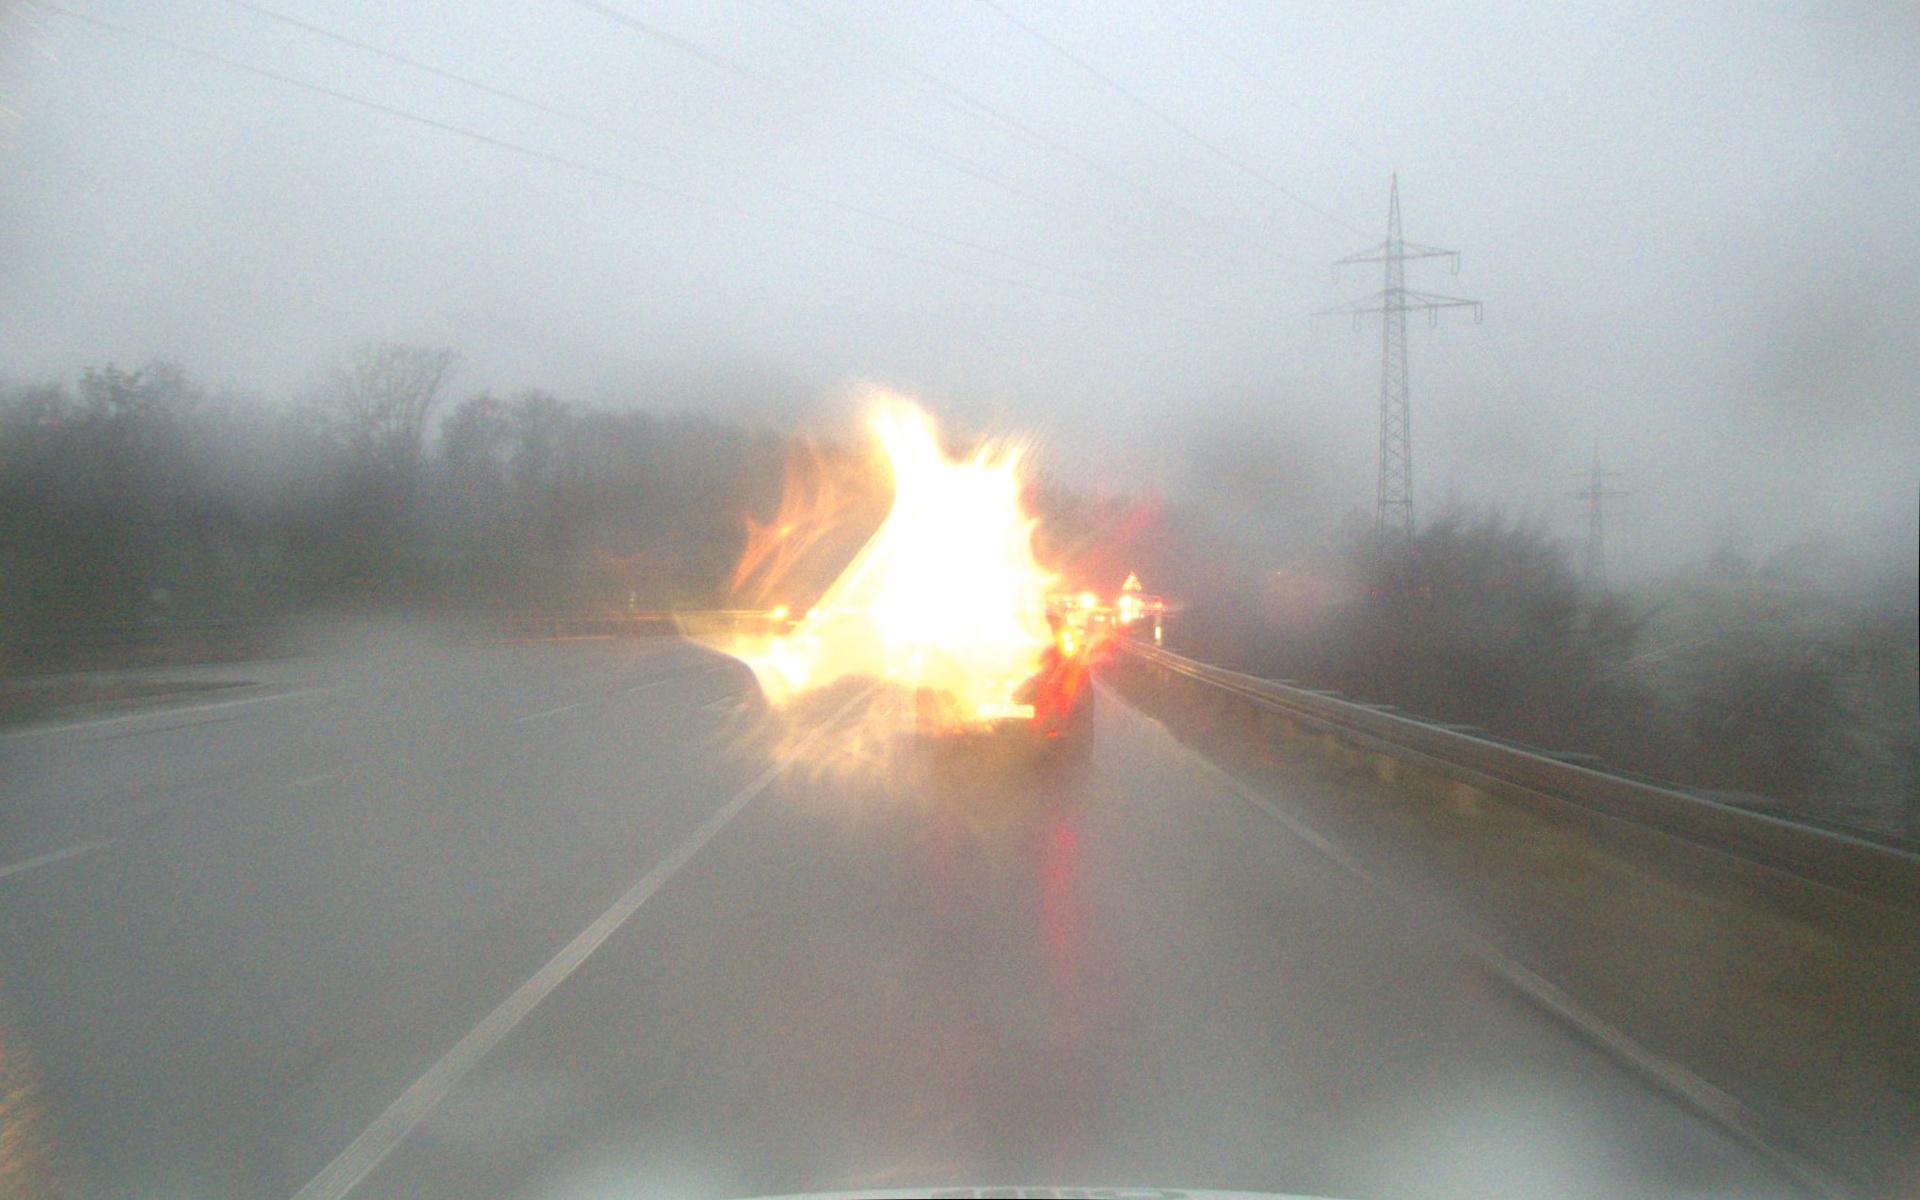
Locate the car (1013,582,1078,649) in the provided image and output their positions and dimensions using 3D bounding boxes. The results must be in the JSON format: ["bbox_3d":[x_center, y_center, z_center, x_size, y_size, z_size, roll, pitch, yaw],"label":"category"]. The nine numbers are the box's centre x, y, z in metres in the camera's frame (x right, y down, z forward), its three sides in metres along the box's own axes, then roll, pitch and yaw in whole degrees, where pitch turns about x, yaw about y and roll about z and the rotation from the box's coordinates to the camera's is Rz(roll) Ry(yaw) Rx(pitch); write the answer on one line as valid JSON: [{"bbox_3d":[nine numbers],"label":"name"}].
[{"bbox_3d":[2.744,0.476,53.881,1.906,2.049,4.000,1,0,1],"label":"car"}]

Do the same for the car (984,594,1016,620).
[{"bbox_3d":[2.544,0.429,104.639,1.601,1.497,4.452,3,1,6],"label":"car"}]

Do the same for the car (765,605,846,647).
[{"bbox_3d":[-5.241,0.858,56.512,1.561,1.265,4.004,4,1,12],"label":"car"}]

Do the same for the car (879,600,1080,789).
[{"bbox_3d":[0.124,0.823,16.482,1.695,1.559,4.041,-2,0,-1],"label":"car"}]

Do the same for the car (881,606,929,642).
[{"bbox_3d":[-2.363,1.013,71.632,1.659,1.442,4.002,2,0,3],"label":"car"}]

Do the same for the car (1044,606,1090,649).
[{"bbox_3d":[4.799,1.204,73.862,1.905,1.775,4.002,1,0,5],"label":"car"}]

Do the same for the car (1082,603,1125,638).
[{"bbox_3d":[7.965,1.110,91.671,1.904,1.775,4.004,1,1,12],"label":"car"}]
